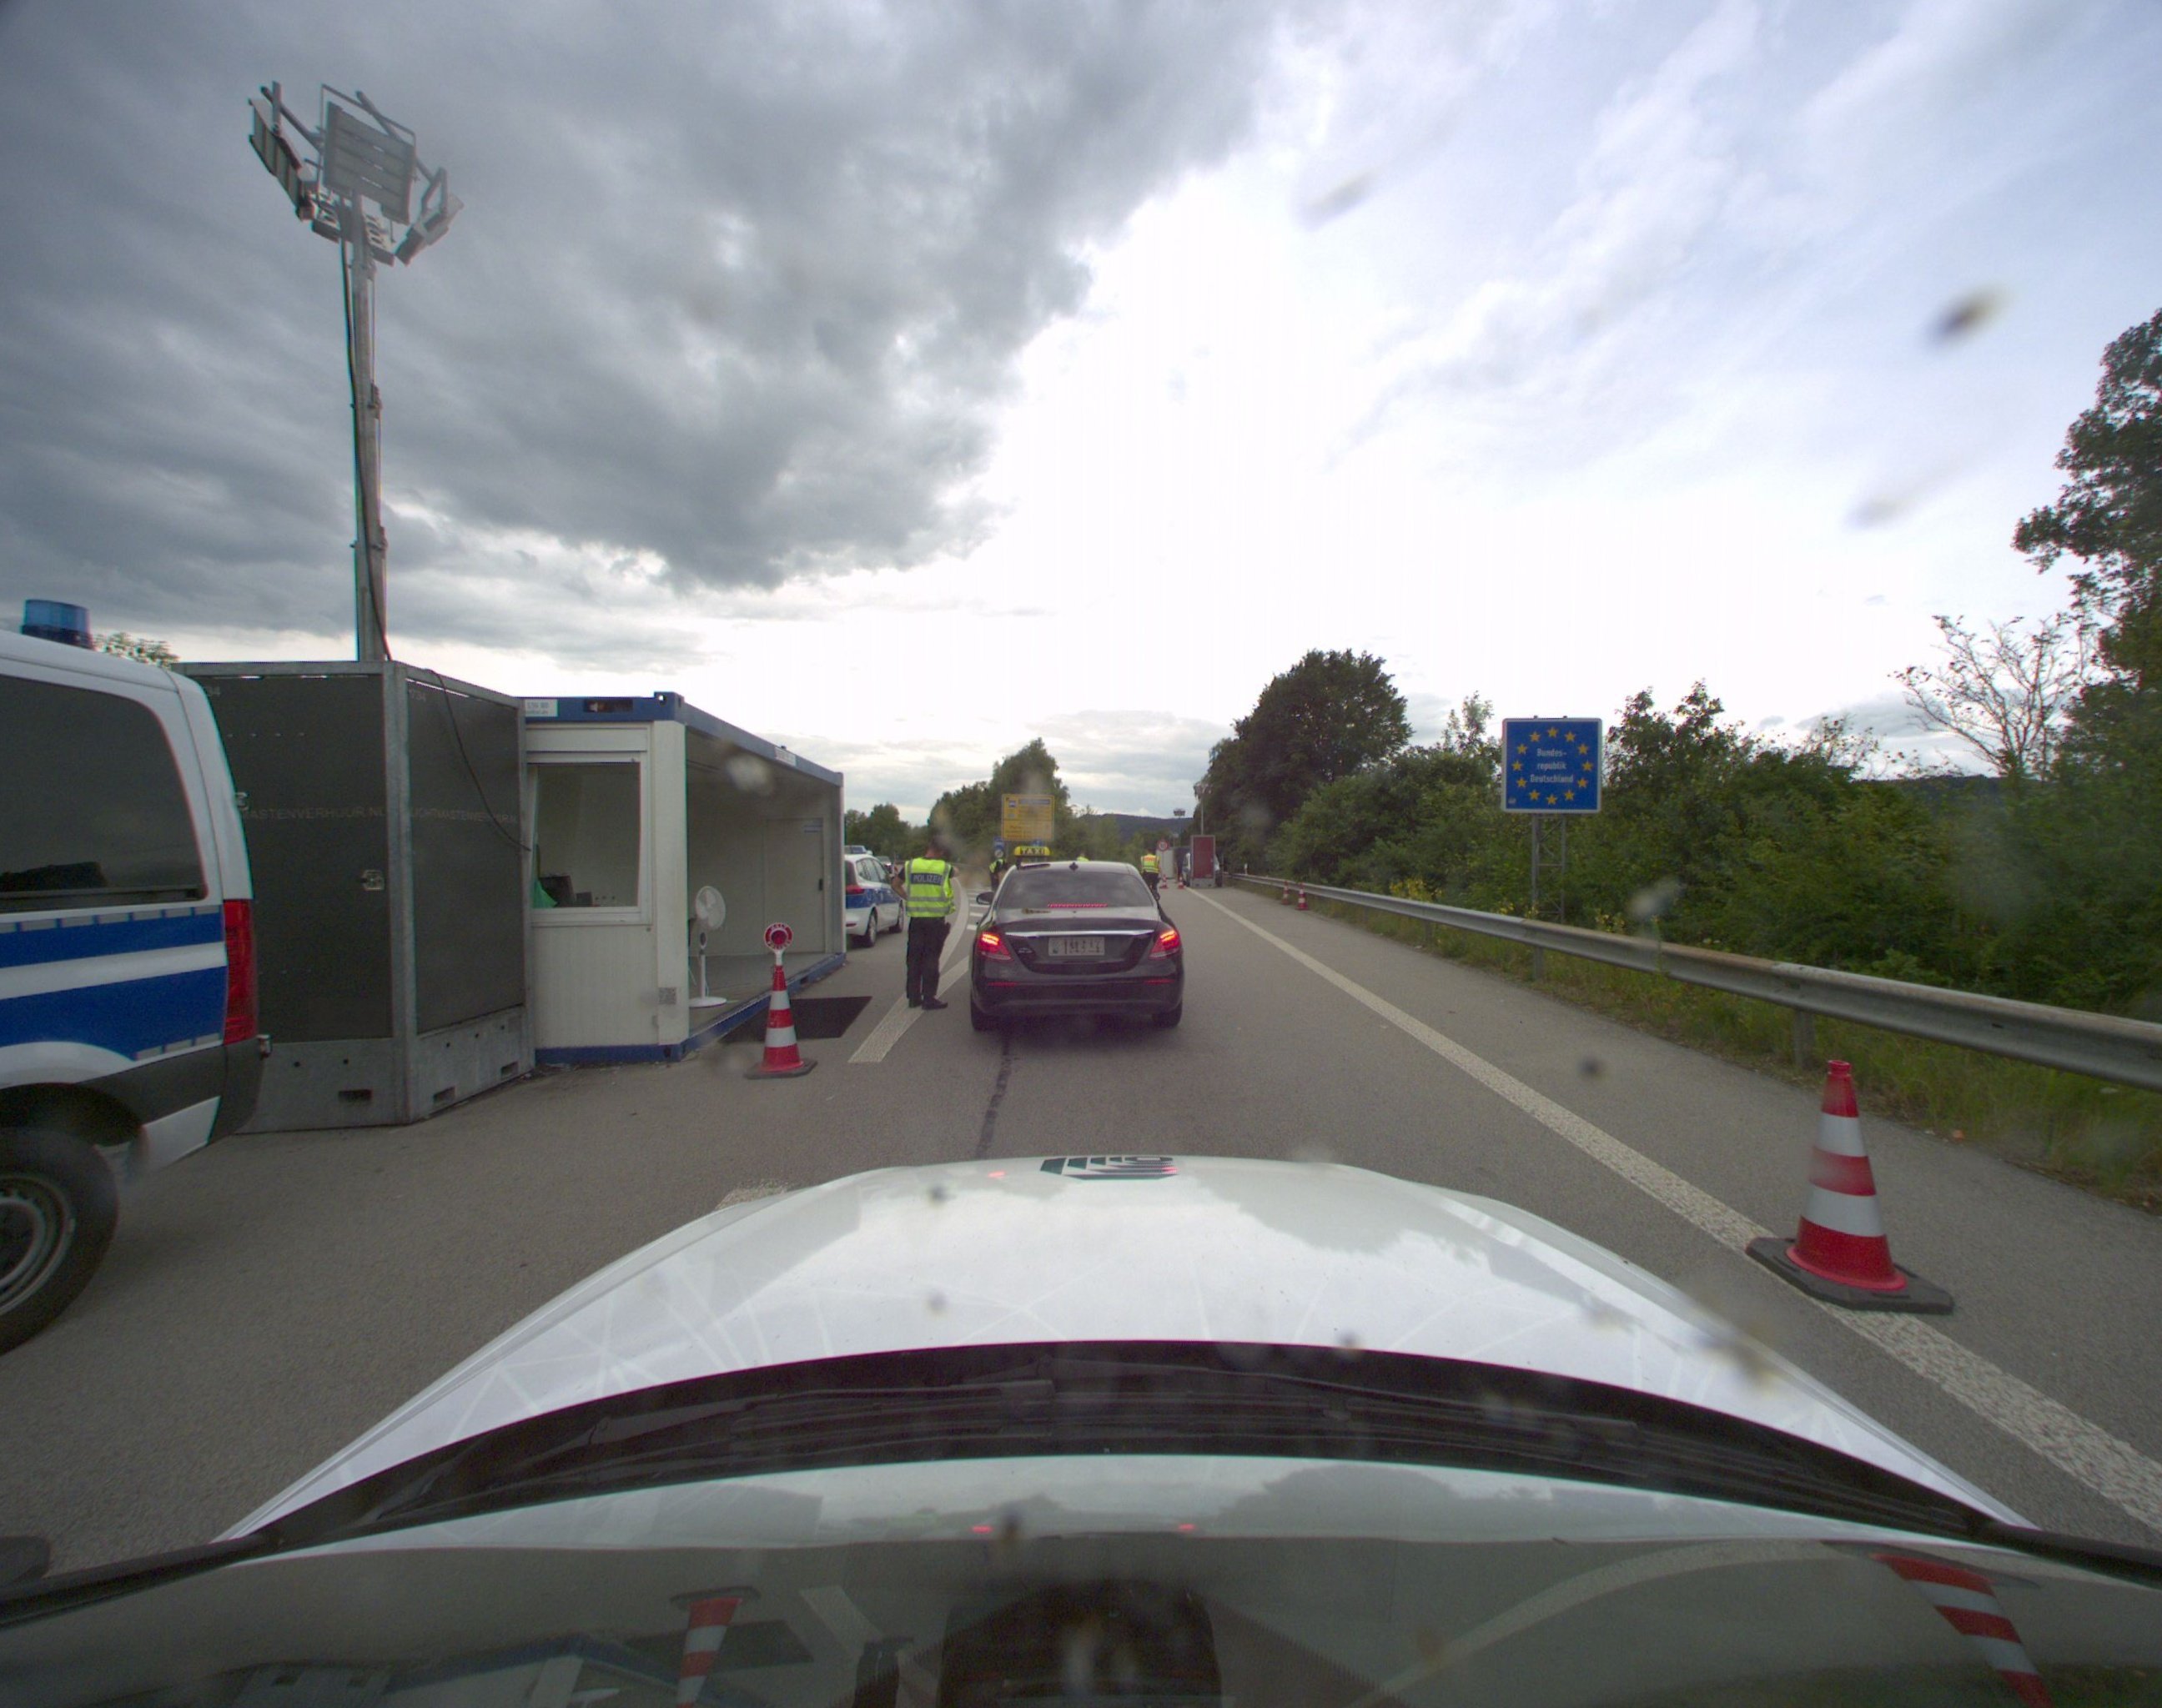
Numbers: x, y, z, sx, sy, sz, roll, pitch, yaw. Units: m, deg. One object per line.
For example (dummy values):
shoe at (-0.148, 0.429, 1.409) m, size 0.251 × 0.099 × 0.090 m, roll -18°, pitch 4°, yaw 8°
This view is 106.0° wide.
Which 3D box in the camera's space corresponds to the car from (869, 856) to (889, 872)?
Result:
car at (-19.645, 0.925, 79.312) m, size 1.858 × 1.498 × 4.236 m, roll -1°, pitch 0°, yaw -14°

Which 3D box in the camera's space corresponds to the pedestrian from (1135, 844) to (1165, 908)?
pedestrian at (2.055, 0.644, 24.034) m, size 0.808 × 1.830 × 0.811 m, roll -1°, pitch -1°, yaw 7°

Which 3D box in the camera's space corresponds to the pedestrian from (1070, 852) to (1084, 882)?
pedestrian at (-0.280, 0.844, 54.291) m, size 0.659 × 1.961 × 0.763 m, roll -1°, pitch -1°, yaw 17°

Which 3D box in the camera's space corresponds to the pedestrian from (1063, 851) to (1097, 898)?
pedestrian at (-0.025, 0.732, 29.795) m, size 0.914 × 1.698 × 0.905 m, roll 0°, pitch -1°, yaw -30°

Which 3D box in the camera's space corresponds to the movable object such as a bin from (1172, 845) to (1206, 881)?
movable object such as a bin at (7.193, 0.585, 54.611) m, size 1.984 × 2.280 × 4.172 m, roll -1°, pitch 0°, yaw 4°

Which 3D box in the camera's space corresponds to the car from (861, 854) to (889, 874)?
car at (-16.107, 0.757, 63.922) m, size 1.856 × 1.498 × 4.240 m, roll -1°, pitch 0°, yaw -11°

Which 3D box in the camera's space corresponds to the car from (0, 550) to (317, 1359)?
car at (-4.268, 0.311, 0.855) m, size 2.023 × 2.463 × 5.276 m, roll -1°, pitch 0°, yaw -2°

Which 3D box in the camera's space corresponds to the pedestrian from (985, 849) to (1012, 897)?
pedestrian at (-3.137, 0.713, 30.979) m, size 0.908 × 1.769 × 0.911 m, roll -1°, pitch 0°, yaw -1°

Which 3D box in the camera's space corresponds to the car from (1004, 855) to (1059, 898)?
car at (-1.812, 0.811, 30.954) m, size 1.850 × 1.498 × 4.255 m, roll -1°, pitch 0°, yaw -1°

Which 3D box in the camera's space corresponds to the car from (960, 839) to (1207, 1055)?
car at (-0.077, 0.699, 8.329) m, size 1.851 × 1.595 × 4.371 m, roll -1°, pitch 0°, yaw -3°

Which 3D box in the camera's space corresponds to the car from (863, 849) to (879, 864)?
car at (-32.186, 0.401, 124.637) m, size 1.863 × 2.222 × 4.225 m, roll -1°, pitch 0°, yaw -22°

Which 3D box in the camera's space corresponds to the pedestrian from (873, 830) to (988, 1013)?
pedestrian at (-1.510, 0.640, 8.207) m, size 0.752 × 1.718 × 0.823 m, roll -2°, pitch -1°, yaw 39°

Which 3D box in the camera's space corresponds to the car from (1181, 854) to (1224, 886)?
car at (6.752, 0.862, 45.770) m, size 1.908 × 1.678 × 5.087 m, roll 1°, pitch 0°, yaw 3°

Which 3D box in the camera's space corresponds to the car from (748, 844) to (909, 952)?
car at (-4.542, 0.722, 15.308) m, size 1.864 × 1.743 × 4.005 m, roll -1°, pitch 0°, yaw -2°
